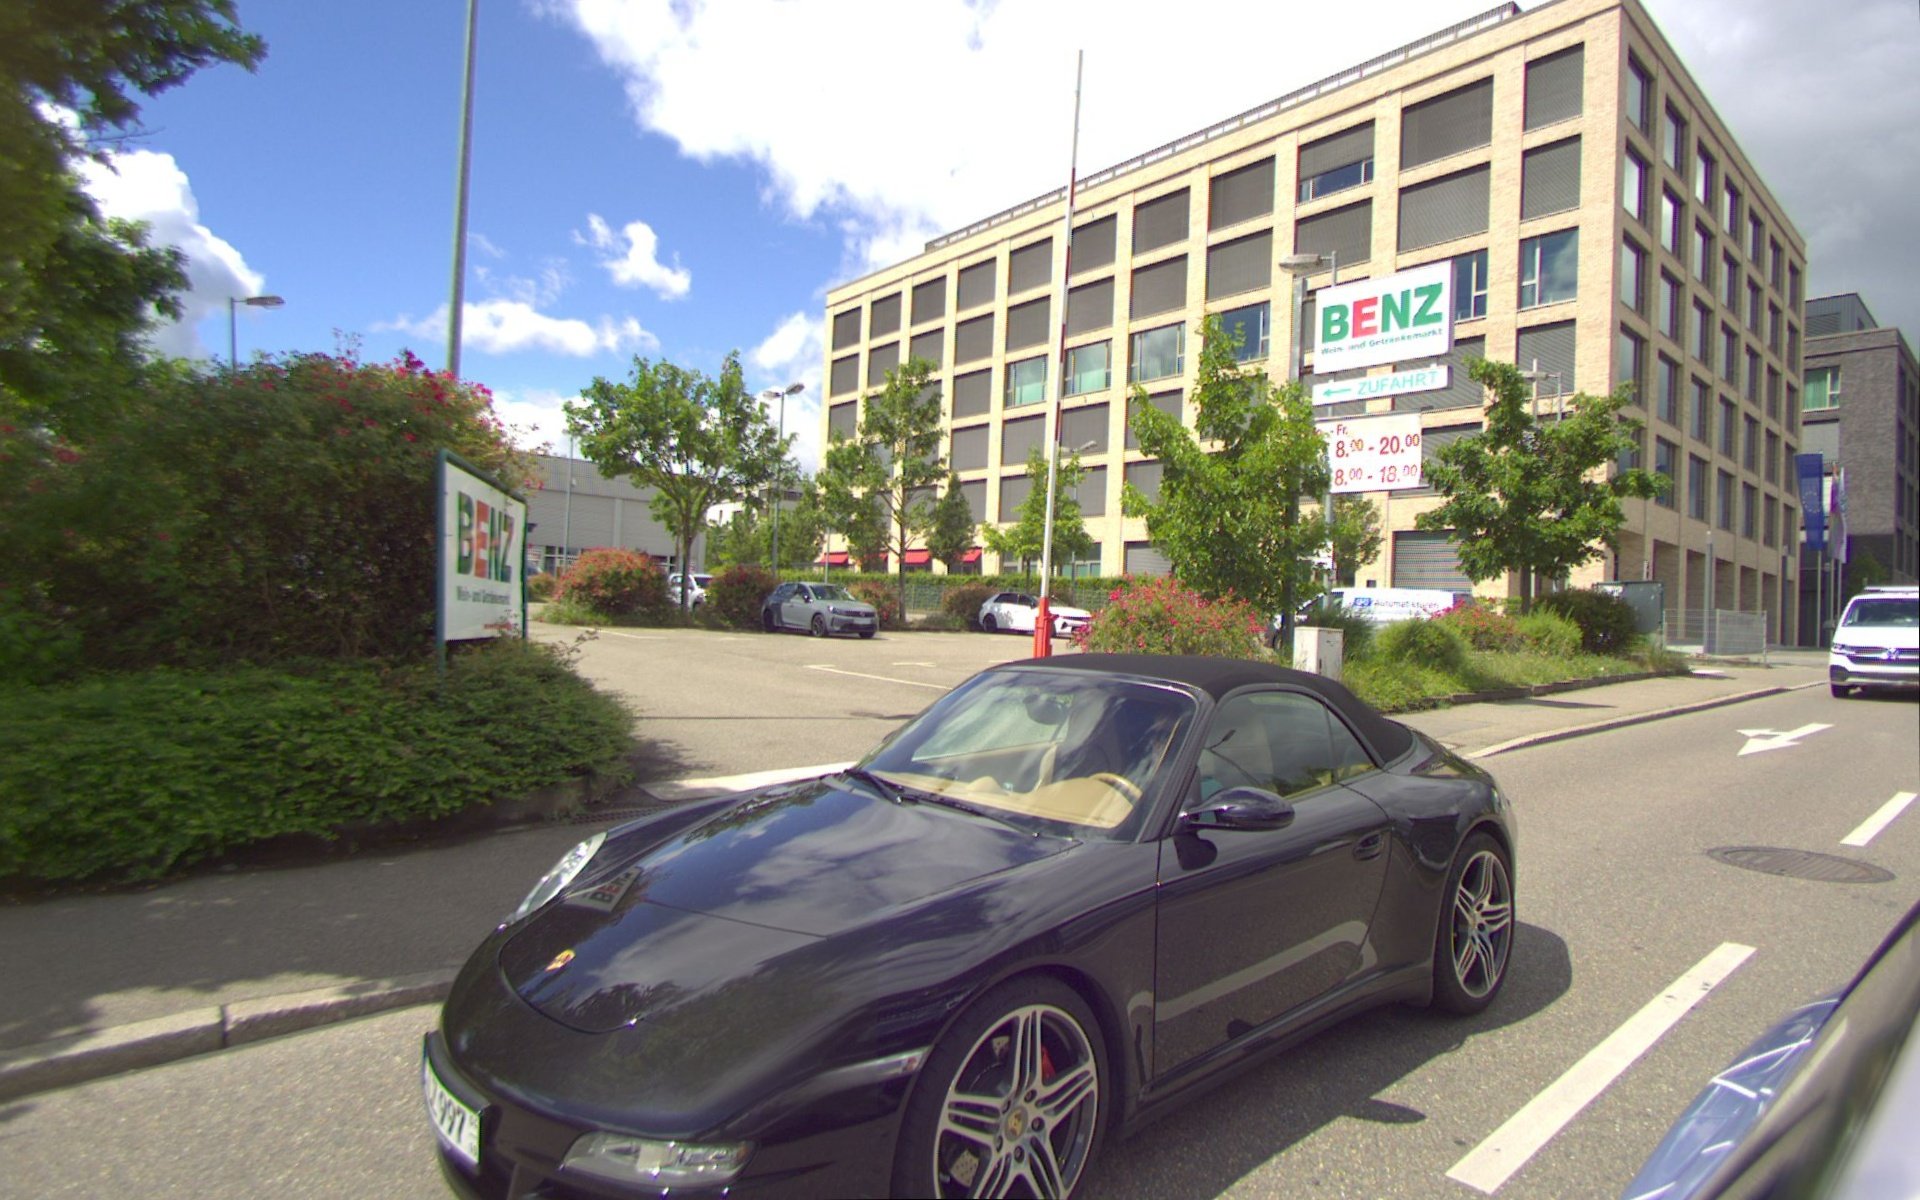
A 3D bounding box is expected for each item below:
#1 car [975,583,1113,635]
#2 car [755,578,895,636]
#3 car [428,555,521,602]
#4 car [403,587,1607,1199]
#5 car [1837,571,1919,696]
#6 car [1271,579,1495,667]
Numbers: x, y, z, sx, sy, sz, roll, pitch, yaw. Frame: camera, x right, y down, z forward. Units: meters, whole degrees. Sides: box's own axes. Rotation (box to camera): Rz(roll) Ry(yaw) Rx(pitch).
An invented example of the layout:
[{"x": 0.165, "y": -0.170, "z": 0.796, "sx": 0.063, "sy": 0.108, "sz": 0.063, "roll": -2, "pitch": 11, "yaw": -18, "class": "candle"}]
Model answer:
[{"x": 2.710, "y": 0.279, "z": 33.499, "sx": 1.856, "sy": 1.510, "sz": 4.438, "roll": 2, "pitch": 1, "yaw": -43, "class": "car"}, {"x": -3.703, "y": 0.157, "z": 27.380, "sx": 1.856, "sy": 1.386, "sz": 3.876, "roll": 2, "pitch": 0, "yaw": -43, "class": "car"}, {"x": -17.804, "y": -0.798, "z": 37.012, "sx": 1.891, "sy": 1.595, "sz": 4.297, "roll": 1, "pitch": 1, "yaw": -43, "class": "car"}, {"x": 0.483, "y": 0.780, "z": 3.720, "sx": 4.130, "sy": 1.394, "sz": 1.935, "roll": 4, "pitch": -2, "yaw": -38, "class": "car"}, {"x": 17.864, "y": 0.590, "z": 18.690, "sx": 4.134, "sy": 2.116, "sz": 1.934, "roll": 1, "pitch": 1, "yaw": -41, "class": "car"}, {"x": 10.449, "y": 0.488, "z": 25.208, "sx": 4.707, "sy": 1.871, "sz": 2.056, "roll": 3, "pitch": 2, "yaw": 43, "class": "car"}]
